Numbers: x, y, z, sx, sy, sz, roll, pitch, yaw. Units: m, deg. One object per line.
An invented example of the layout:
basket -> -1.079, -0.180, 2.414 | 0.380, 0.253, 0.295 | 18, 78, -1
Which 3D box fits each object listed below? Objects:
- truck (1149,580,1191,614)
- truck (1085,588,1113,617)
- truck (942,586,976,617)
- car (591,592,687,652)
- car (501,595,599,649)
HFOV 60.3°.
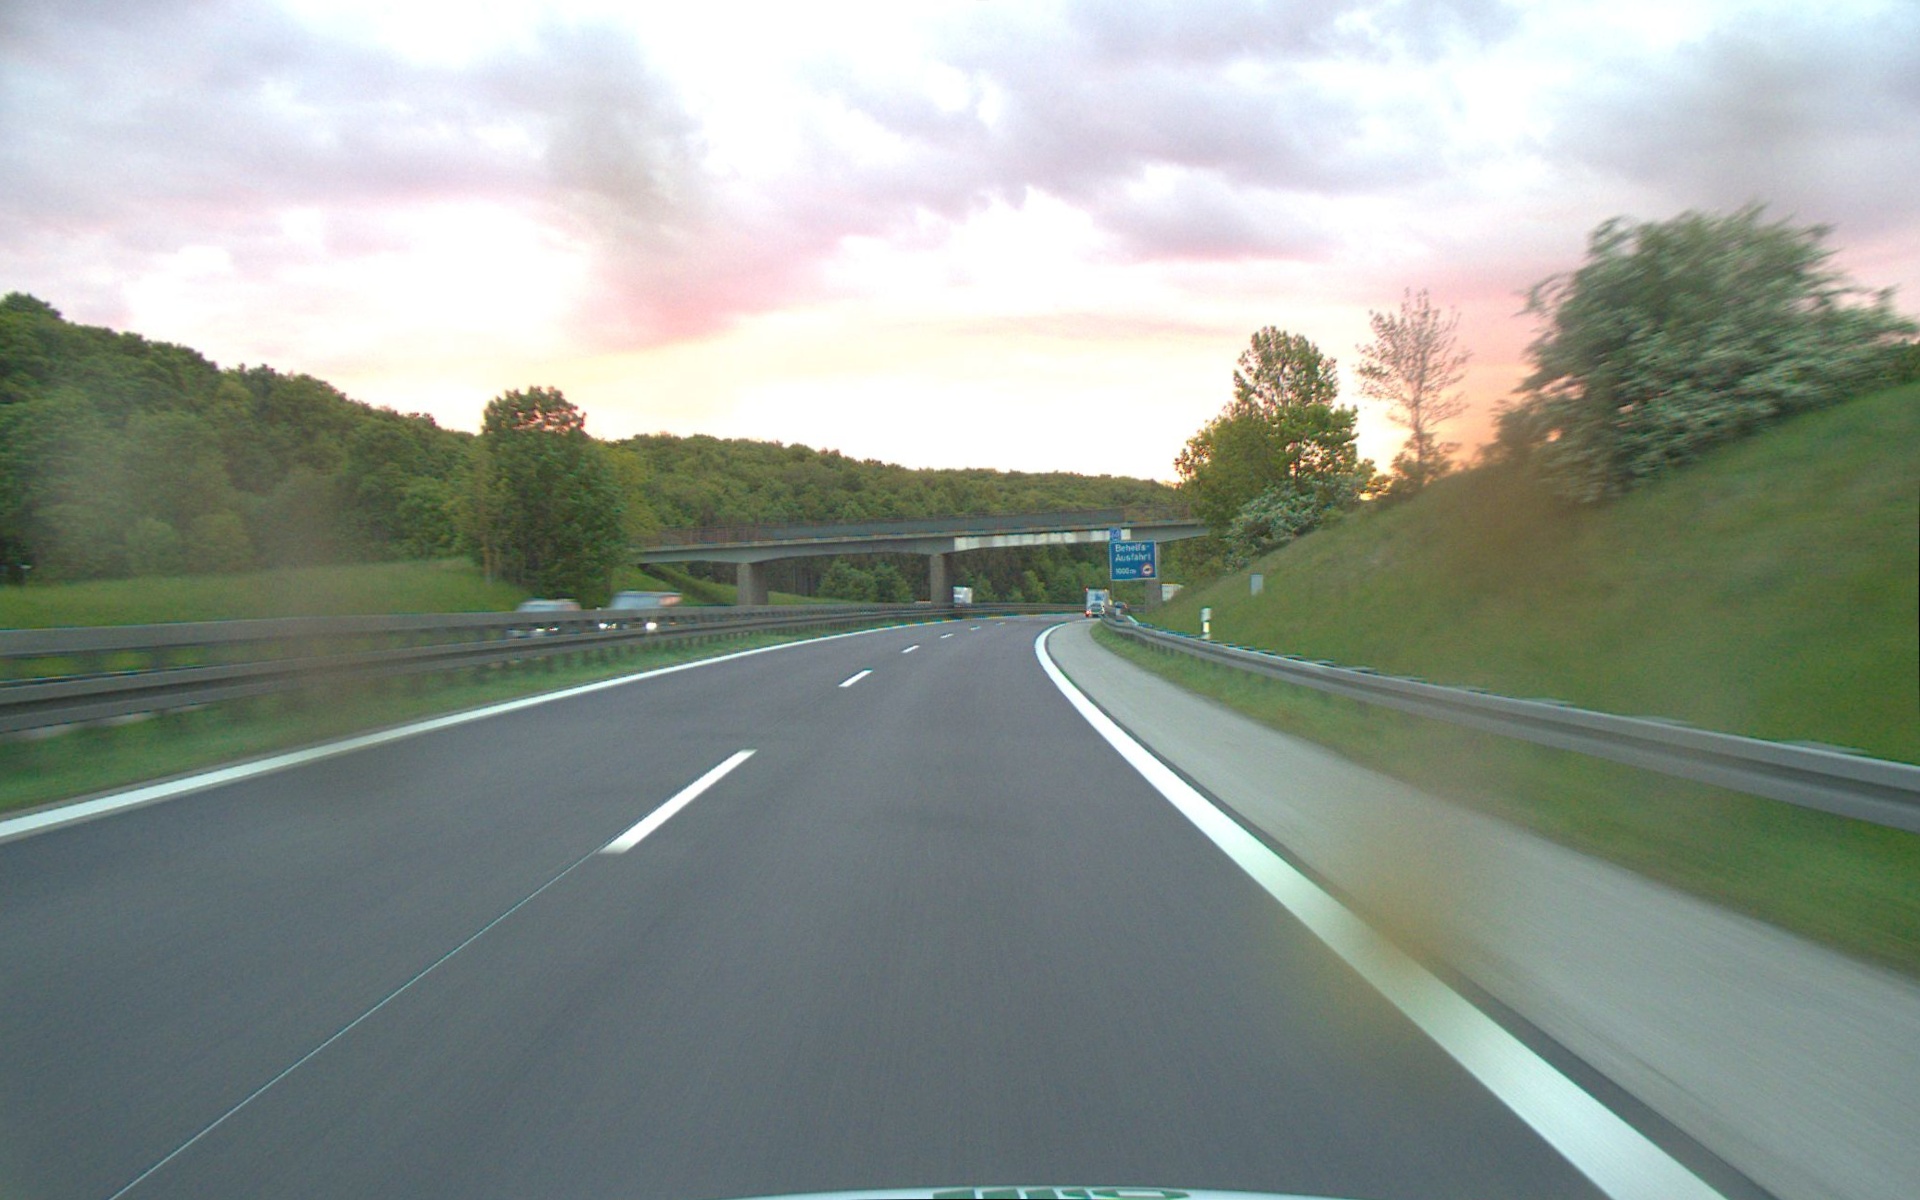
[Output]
truck -> 28.776, -0.406, 225.882 | 3.874, 4.362, 14.334 | 0, 0, 15
truck -> 13.548, 0.220, 160.866 | 2.227, 2.711, 5.241 | -1, 1, 10
truck -> -0.070, 0.178, 174.369 | 2.556, 3.164, 6.674 | 1, 0, 9
car -> -10.633, 0.692, 55.206 | 2.059, 1.905, 5.133 | 0, 0, 2
car -> -13.557, 0.697, 54.997 | 1.983, 1.688, 4.671 | 0, 0, 1
